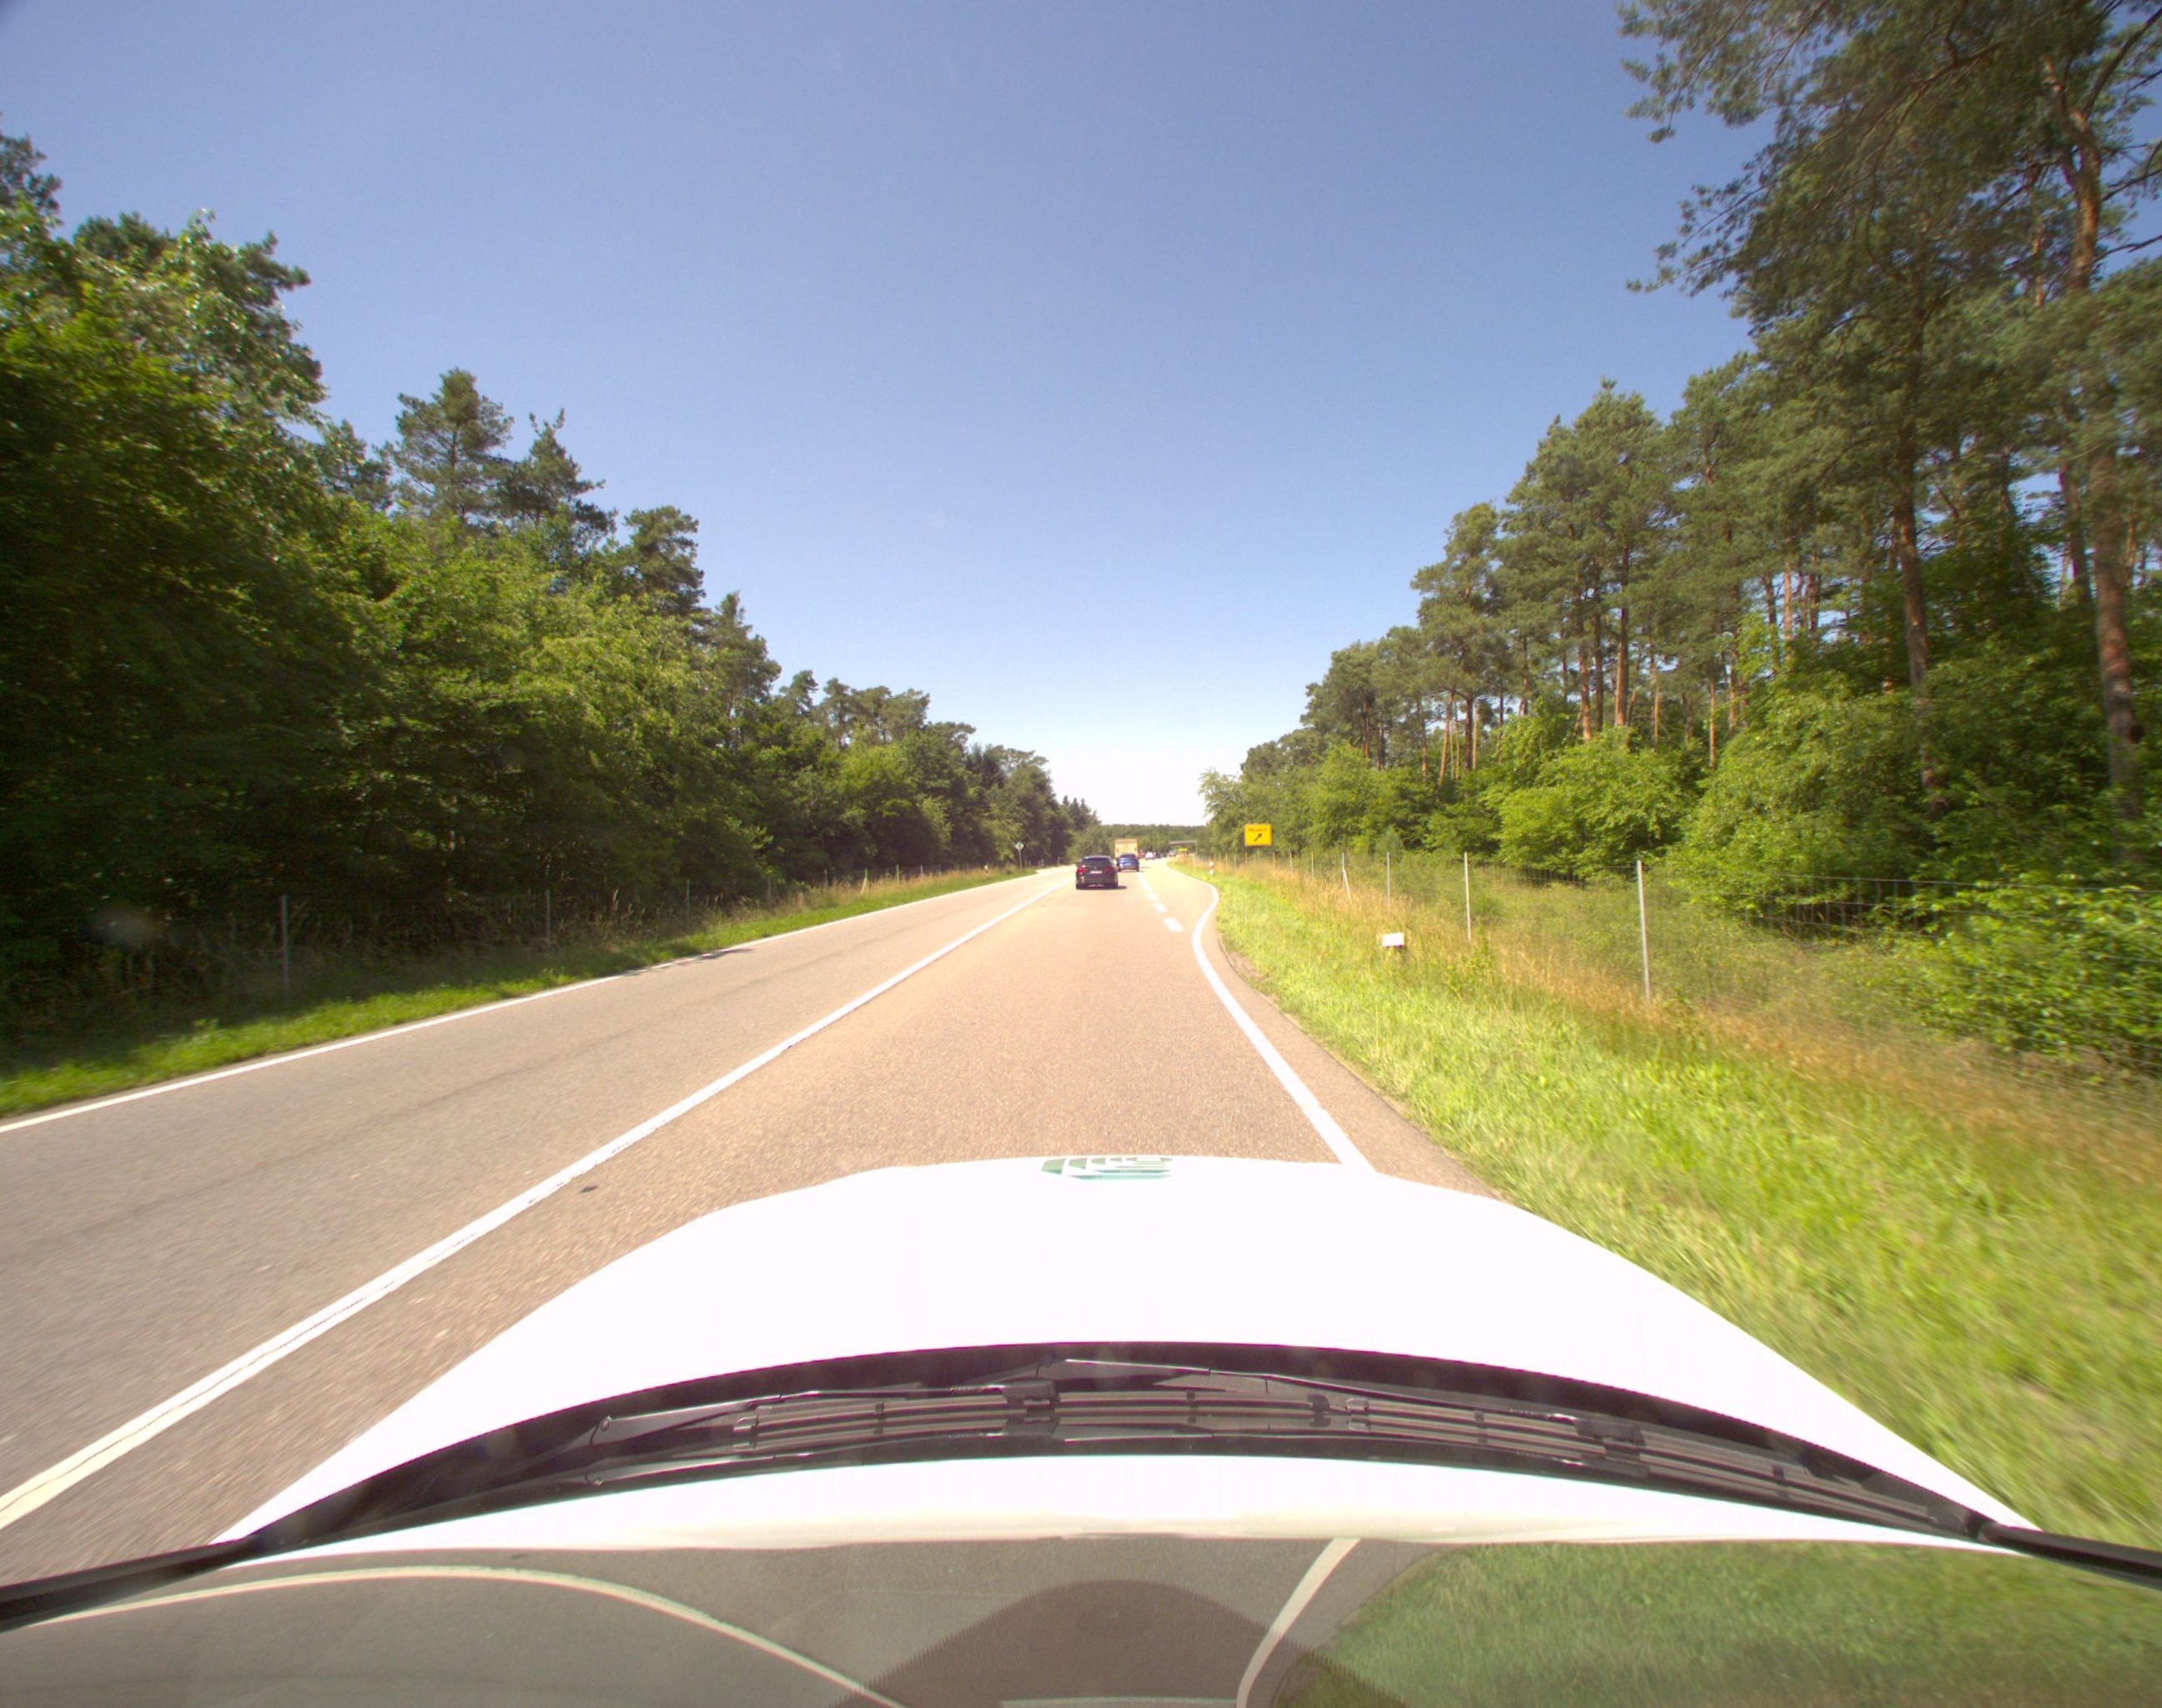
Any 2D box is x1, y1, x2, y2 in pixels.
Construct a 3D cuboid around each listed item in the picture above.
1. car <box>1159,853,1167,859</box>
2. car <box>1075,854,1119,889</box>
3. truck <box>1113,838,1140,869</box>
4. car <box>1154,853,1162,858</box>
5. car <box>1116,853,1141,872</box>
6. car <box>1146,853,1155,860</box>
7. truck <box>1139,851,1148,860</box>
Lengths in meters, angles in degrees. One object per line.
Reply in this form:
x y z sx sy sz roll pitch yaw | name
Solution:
24.527 0.663 243.434 1.983 1.636 4.008 -3 0 7 | car
0.666 0.764 37.186 1.815 1.470 3.998 -2 0 -1 | car
5.345 -0.086 94.898 2.953 3.387 6.444 -2 0 3 | truck
20.611 0.444 218.371 1.984 1.420 4.006 -1 0 6 | car
4.117 0.687 70.378 1.940 1.541 4.001 -3 0 1 | car
16.049 0.503 189.278 1.856 1.605 4.001 0 0 1 | car
19.381 0.340 250.826 2.386 2.722 6.564 -1 0 7 | truck
